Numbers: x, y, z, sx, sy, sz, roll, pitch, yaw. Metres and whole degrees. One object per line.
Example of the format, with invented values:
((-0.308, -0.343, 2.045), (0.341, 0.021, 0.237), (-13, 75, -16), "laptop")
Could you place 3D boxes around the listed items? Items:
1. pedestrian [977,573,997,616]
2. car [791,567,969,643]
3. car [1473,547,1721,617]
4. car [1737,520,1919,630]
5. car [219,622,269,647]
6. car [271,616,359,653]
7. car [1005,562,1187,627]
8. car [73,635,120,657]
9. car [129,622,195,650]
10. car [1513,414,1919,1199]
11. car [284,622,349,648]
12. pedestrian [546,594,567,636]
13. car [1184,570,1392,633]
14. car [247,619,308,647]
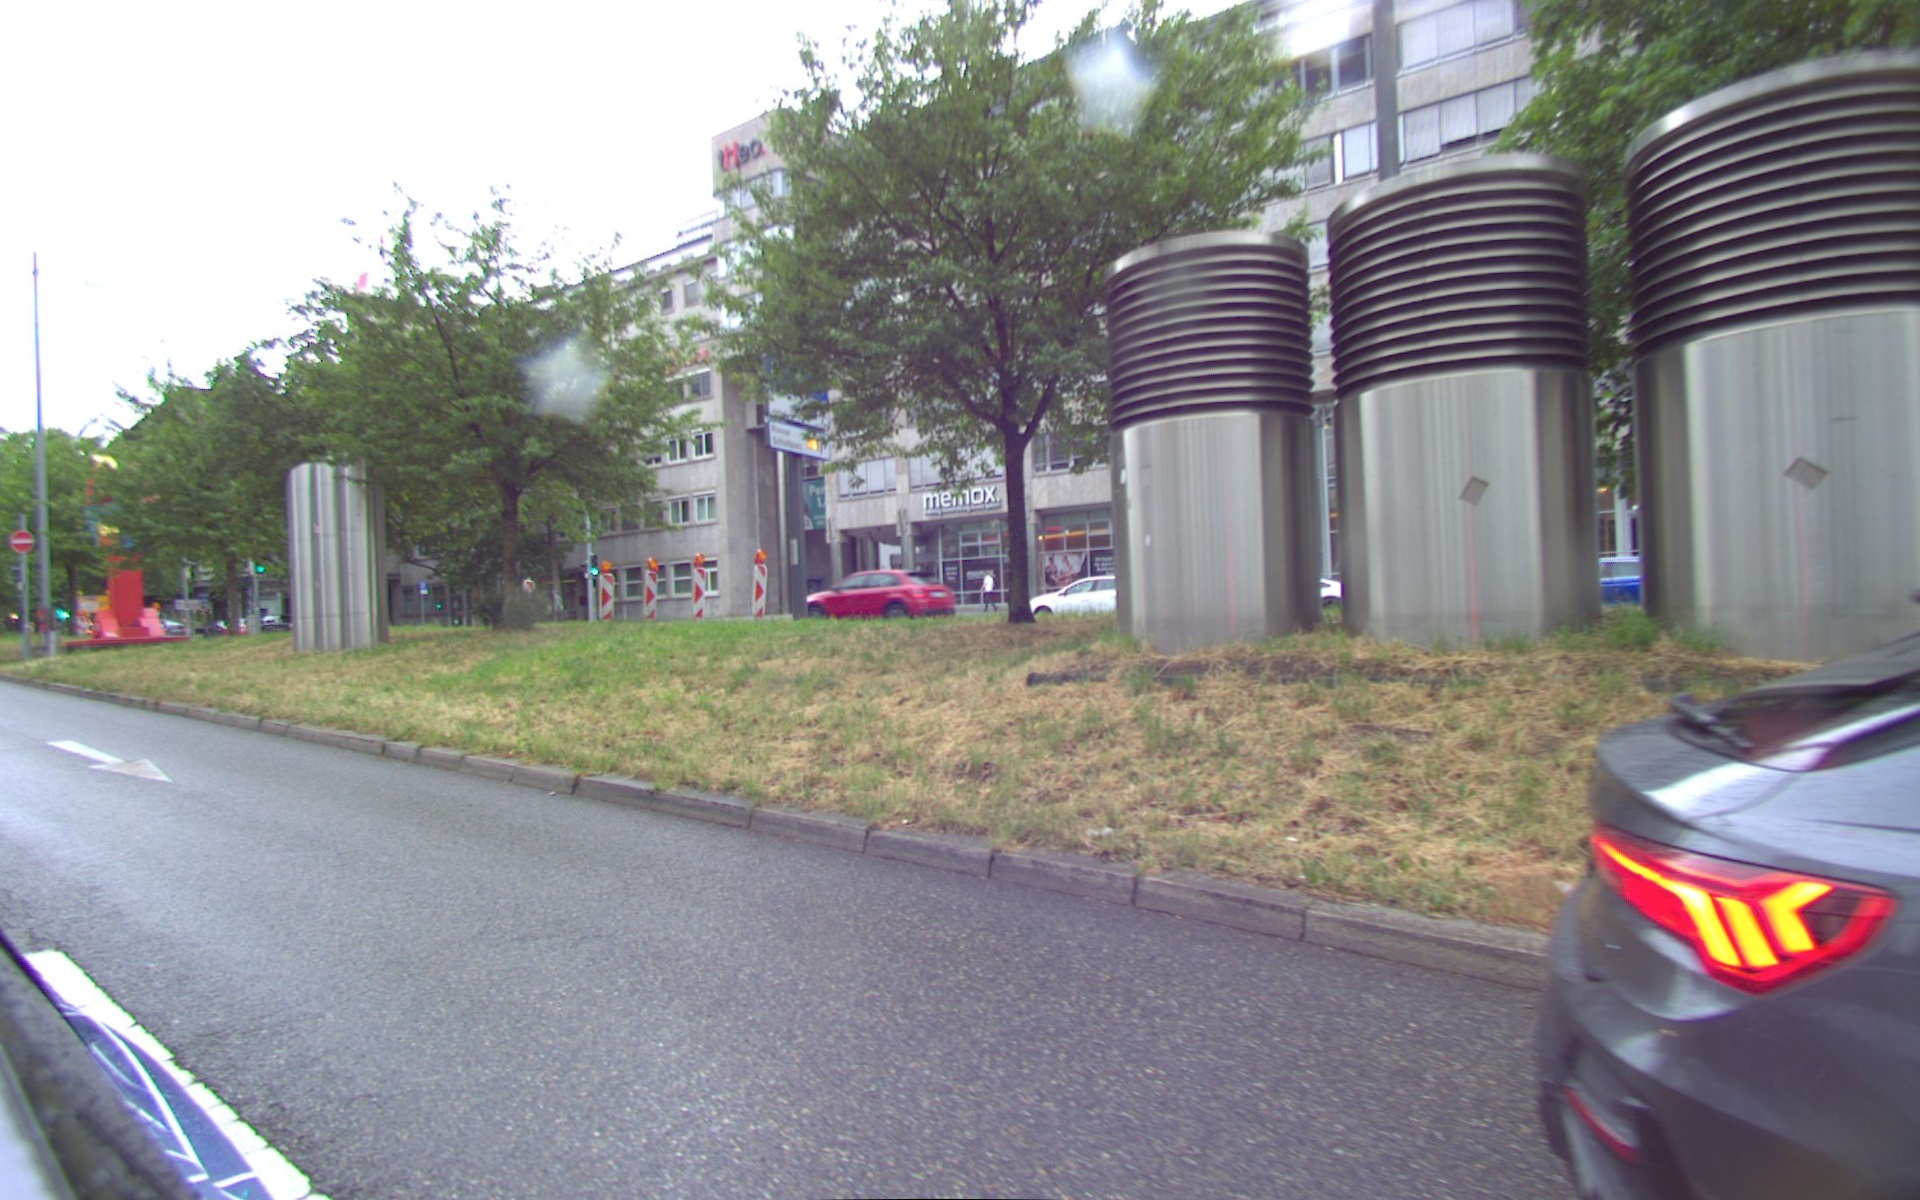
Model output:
((1.164, -0.233, 43.678), (0.527, 1.801, 0.714), (-3, 0, 31), "pedestrian")
((-1.998, 0.140, 24.903), (3.987, 1.713, 1.930), (-2, 0, 32), "car")
((14.019, -0.367, 22.470), (4.465, 1.335, 1.876), (-2, 0, 34), "car")
((13.852, -0.378, 14.598), (3.987, 1.486, 1.853), (-2, 0, 33), "car")
((-46.827, 2.258, 66.166), (3.687, 1.514, 1.670), (-2, -1, 38), "car")
((-27.947, 1.504, 43.809), (4.123, 1.440, 1.845), (-2, -1, 36), "car")
((3.821, -0.119, 28.909), (4.905, 1.634, 1.759), (-2, -1, 38), "car")
((-58.160, 3.119, 68.147), (3.996, 1.425, 1.771), (-3, -2, 40), "car")
((-44.613, 2.012, 56.533), (4.559, 1.440, 1.844), (-2, -1, 38), "car")
((3.026, 0.515, 0.818), (4.247, 1.628, 1.830), (-2, 0, 38), "car")
((-38.401, 2.093, 60.391), (4.559, 1.440, 1.844), (-2, -1, 38), "car")
((-17.950, 0.670, 44.993), (0.721, 1.801, 0.522), (-3, 0, 42), "pedestrian")
((8.232, 0.073, 25.643), (4.677, 1.412, 1.759), (-2, -1, 38), "car")
((-42.719, 2.092, 63.312), (4.461, 1.634, 1.844), (-2, -1, 38), "car")
